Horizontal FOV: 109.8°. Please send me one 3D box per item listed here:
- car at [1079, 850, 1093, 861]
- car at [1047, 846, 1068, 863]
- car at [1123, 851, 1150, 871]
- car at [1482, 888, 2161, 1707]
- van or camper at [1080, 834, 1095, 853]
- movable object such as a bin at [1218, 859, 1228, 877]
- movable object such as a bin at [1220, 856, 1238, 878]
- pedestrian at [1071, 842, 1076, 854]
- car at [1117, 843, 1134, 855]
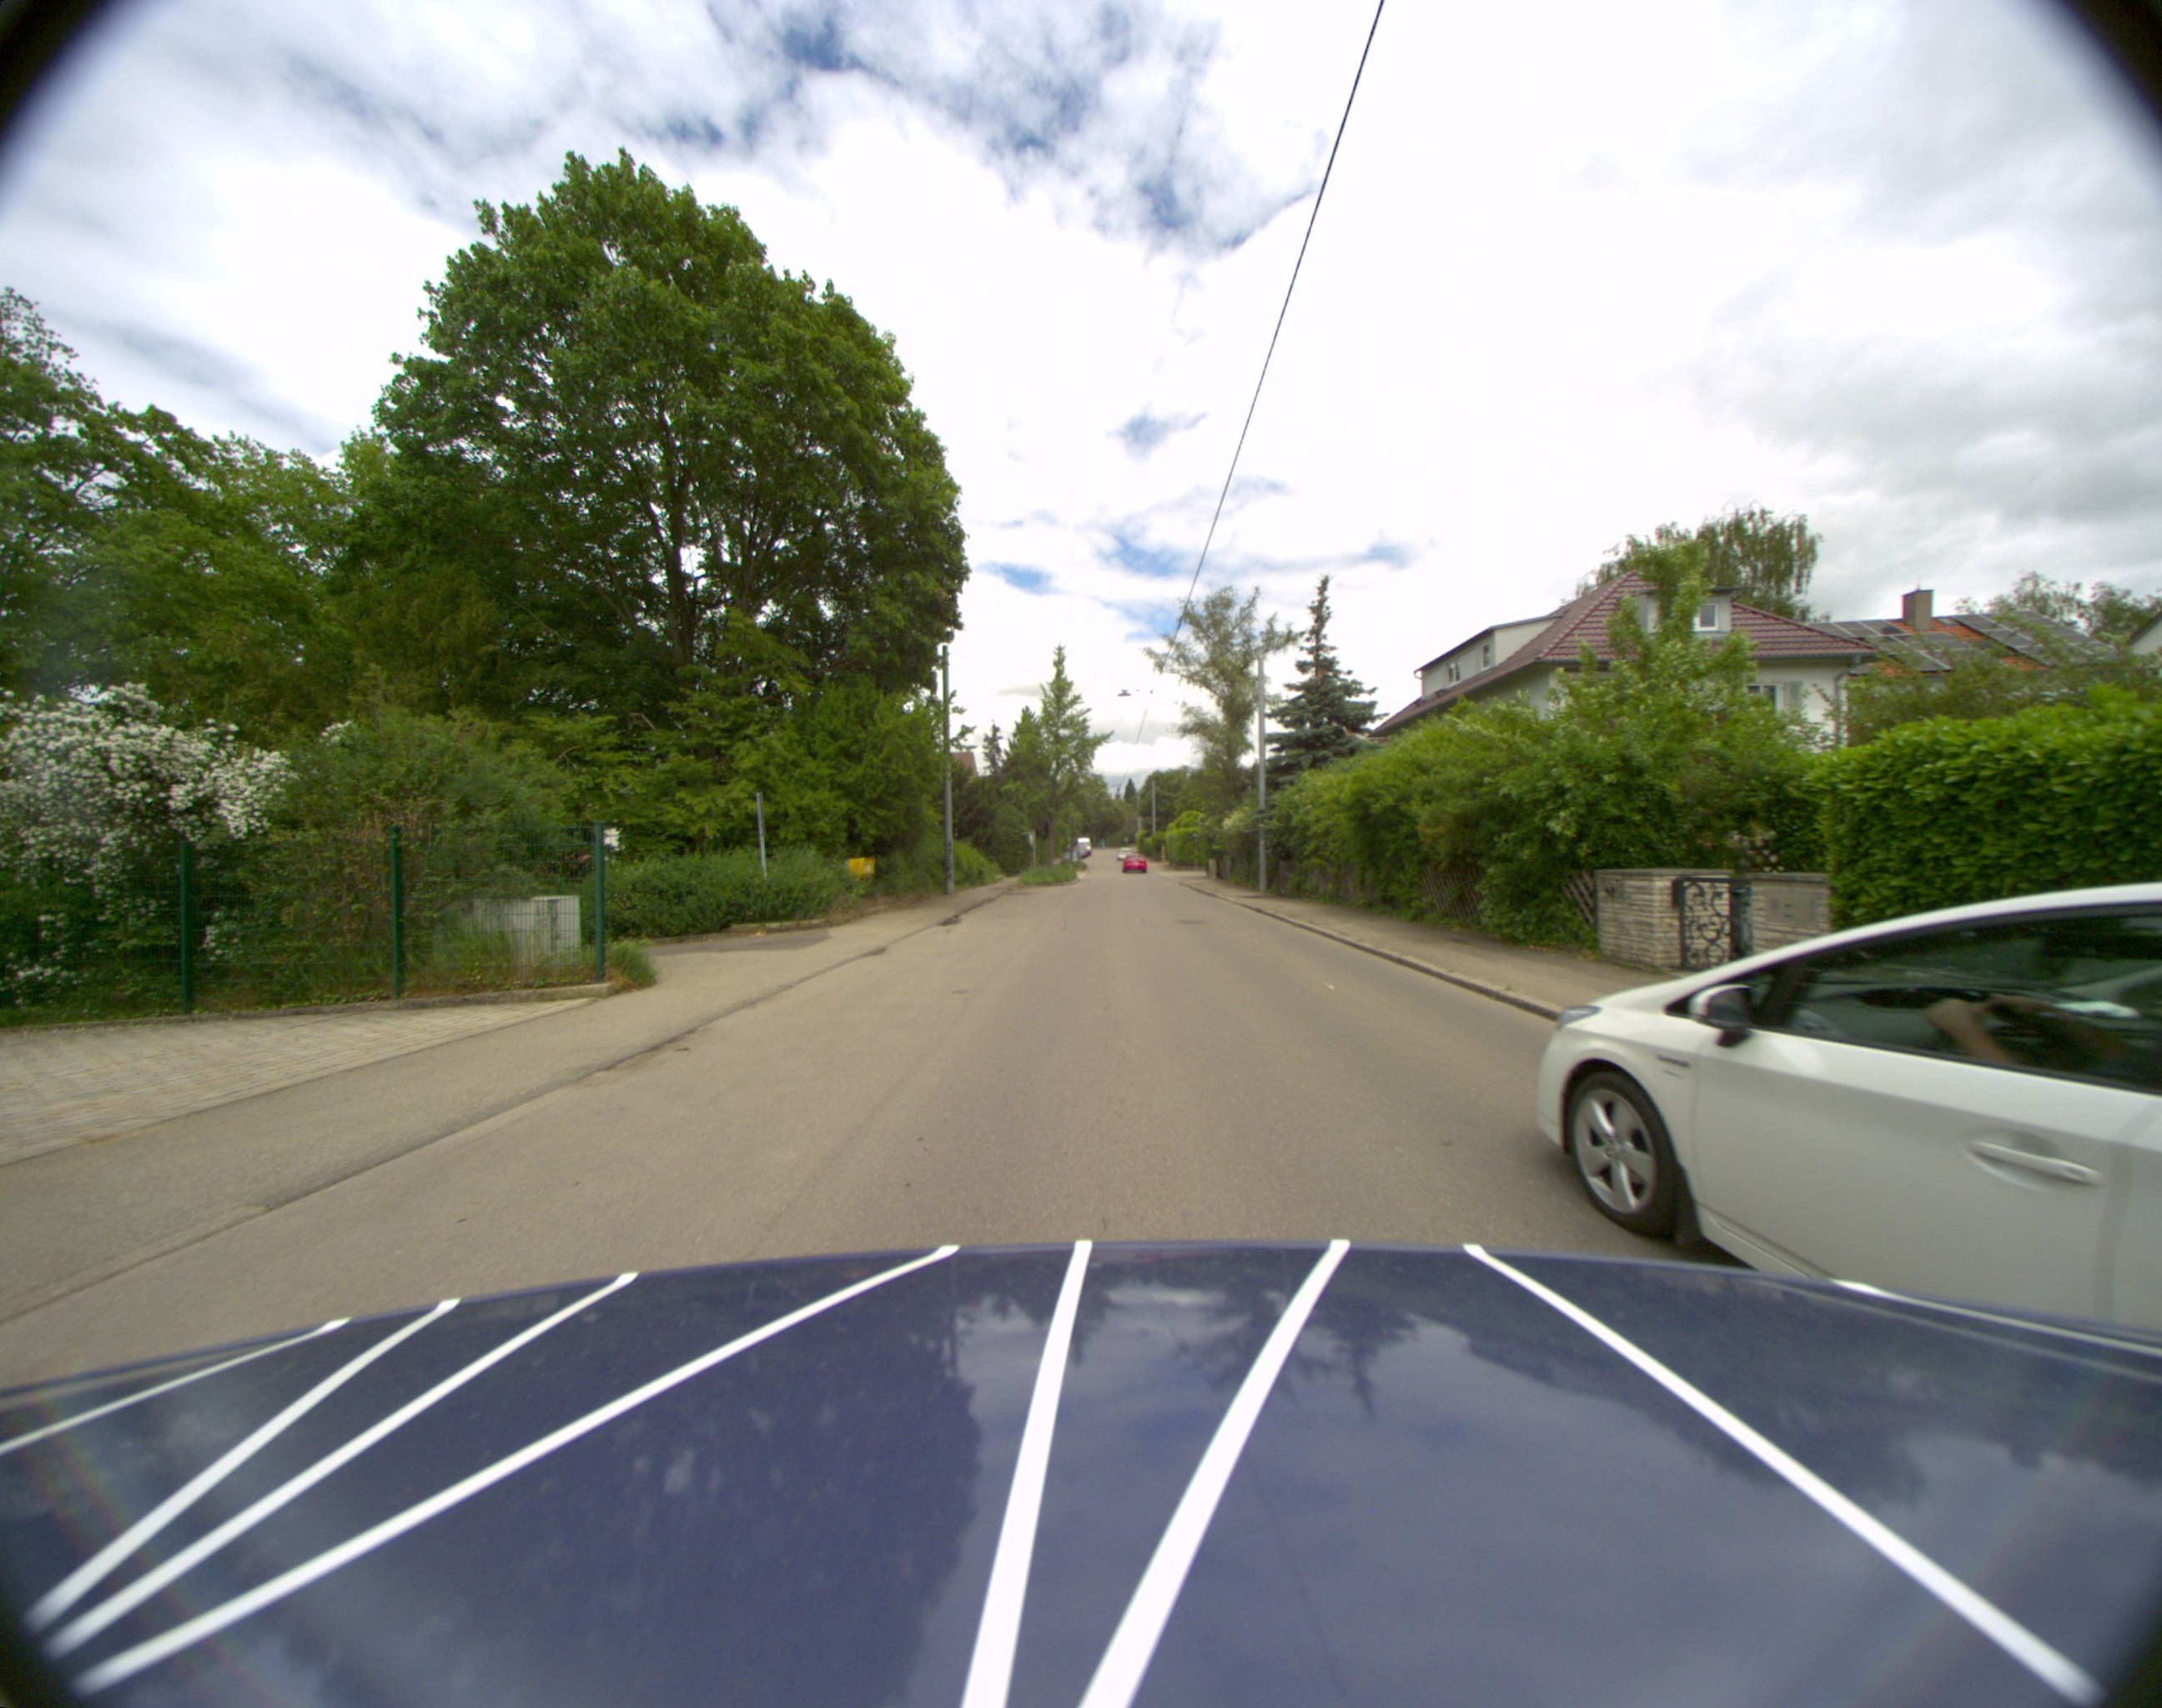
[{"bbox_3d":[0.644,0.176,98.729,1.683,1.399,4.054,-2,0,2],"label":"car"},{"bbox_3d":[-2.186,0.070,71.099,1.627,1.464,3.740,-1,1,2],"label":"car"},{"bbox_3d":[4.263,0.511,58.676,1.810,1.423,4.118,2,1,1],"label":"car"},{"bbox_3d":[2.812,0.908,1.417,1.859,1.443,4.281,1,0,0],"label":"car"},{"bbox_3d":[0.910,-1.615,113.864,2.046,2.605,7.036,-2,2,0],"label":"van or camper"},{"bbox_3d":[7.757,0.764,41.558,0.379,0.946,0.512,-4,1,-1],"label":"movable object such as a bin"},{"bbox_3d":[7.967,0.672,40.918,0.729,1.119,0.722,-4,1,-1],"label":"movable object such as a bin"},{"bbox_3d":[-1.134,-0.805,108.650,0.671,1.689,0.917,0,2,-3],"label":"pedestrian"},{"bbox_3d":[5.252,-0.636,90.653,1.810,1.423,4.300,0,1,1],"label":"car"}]
